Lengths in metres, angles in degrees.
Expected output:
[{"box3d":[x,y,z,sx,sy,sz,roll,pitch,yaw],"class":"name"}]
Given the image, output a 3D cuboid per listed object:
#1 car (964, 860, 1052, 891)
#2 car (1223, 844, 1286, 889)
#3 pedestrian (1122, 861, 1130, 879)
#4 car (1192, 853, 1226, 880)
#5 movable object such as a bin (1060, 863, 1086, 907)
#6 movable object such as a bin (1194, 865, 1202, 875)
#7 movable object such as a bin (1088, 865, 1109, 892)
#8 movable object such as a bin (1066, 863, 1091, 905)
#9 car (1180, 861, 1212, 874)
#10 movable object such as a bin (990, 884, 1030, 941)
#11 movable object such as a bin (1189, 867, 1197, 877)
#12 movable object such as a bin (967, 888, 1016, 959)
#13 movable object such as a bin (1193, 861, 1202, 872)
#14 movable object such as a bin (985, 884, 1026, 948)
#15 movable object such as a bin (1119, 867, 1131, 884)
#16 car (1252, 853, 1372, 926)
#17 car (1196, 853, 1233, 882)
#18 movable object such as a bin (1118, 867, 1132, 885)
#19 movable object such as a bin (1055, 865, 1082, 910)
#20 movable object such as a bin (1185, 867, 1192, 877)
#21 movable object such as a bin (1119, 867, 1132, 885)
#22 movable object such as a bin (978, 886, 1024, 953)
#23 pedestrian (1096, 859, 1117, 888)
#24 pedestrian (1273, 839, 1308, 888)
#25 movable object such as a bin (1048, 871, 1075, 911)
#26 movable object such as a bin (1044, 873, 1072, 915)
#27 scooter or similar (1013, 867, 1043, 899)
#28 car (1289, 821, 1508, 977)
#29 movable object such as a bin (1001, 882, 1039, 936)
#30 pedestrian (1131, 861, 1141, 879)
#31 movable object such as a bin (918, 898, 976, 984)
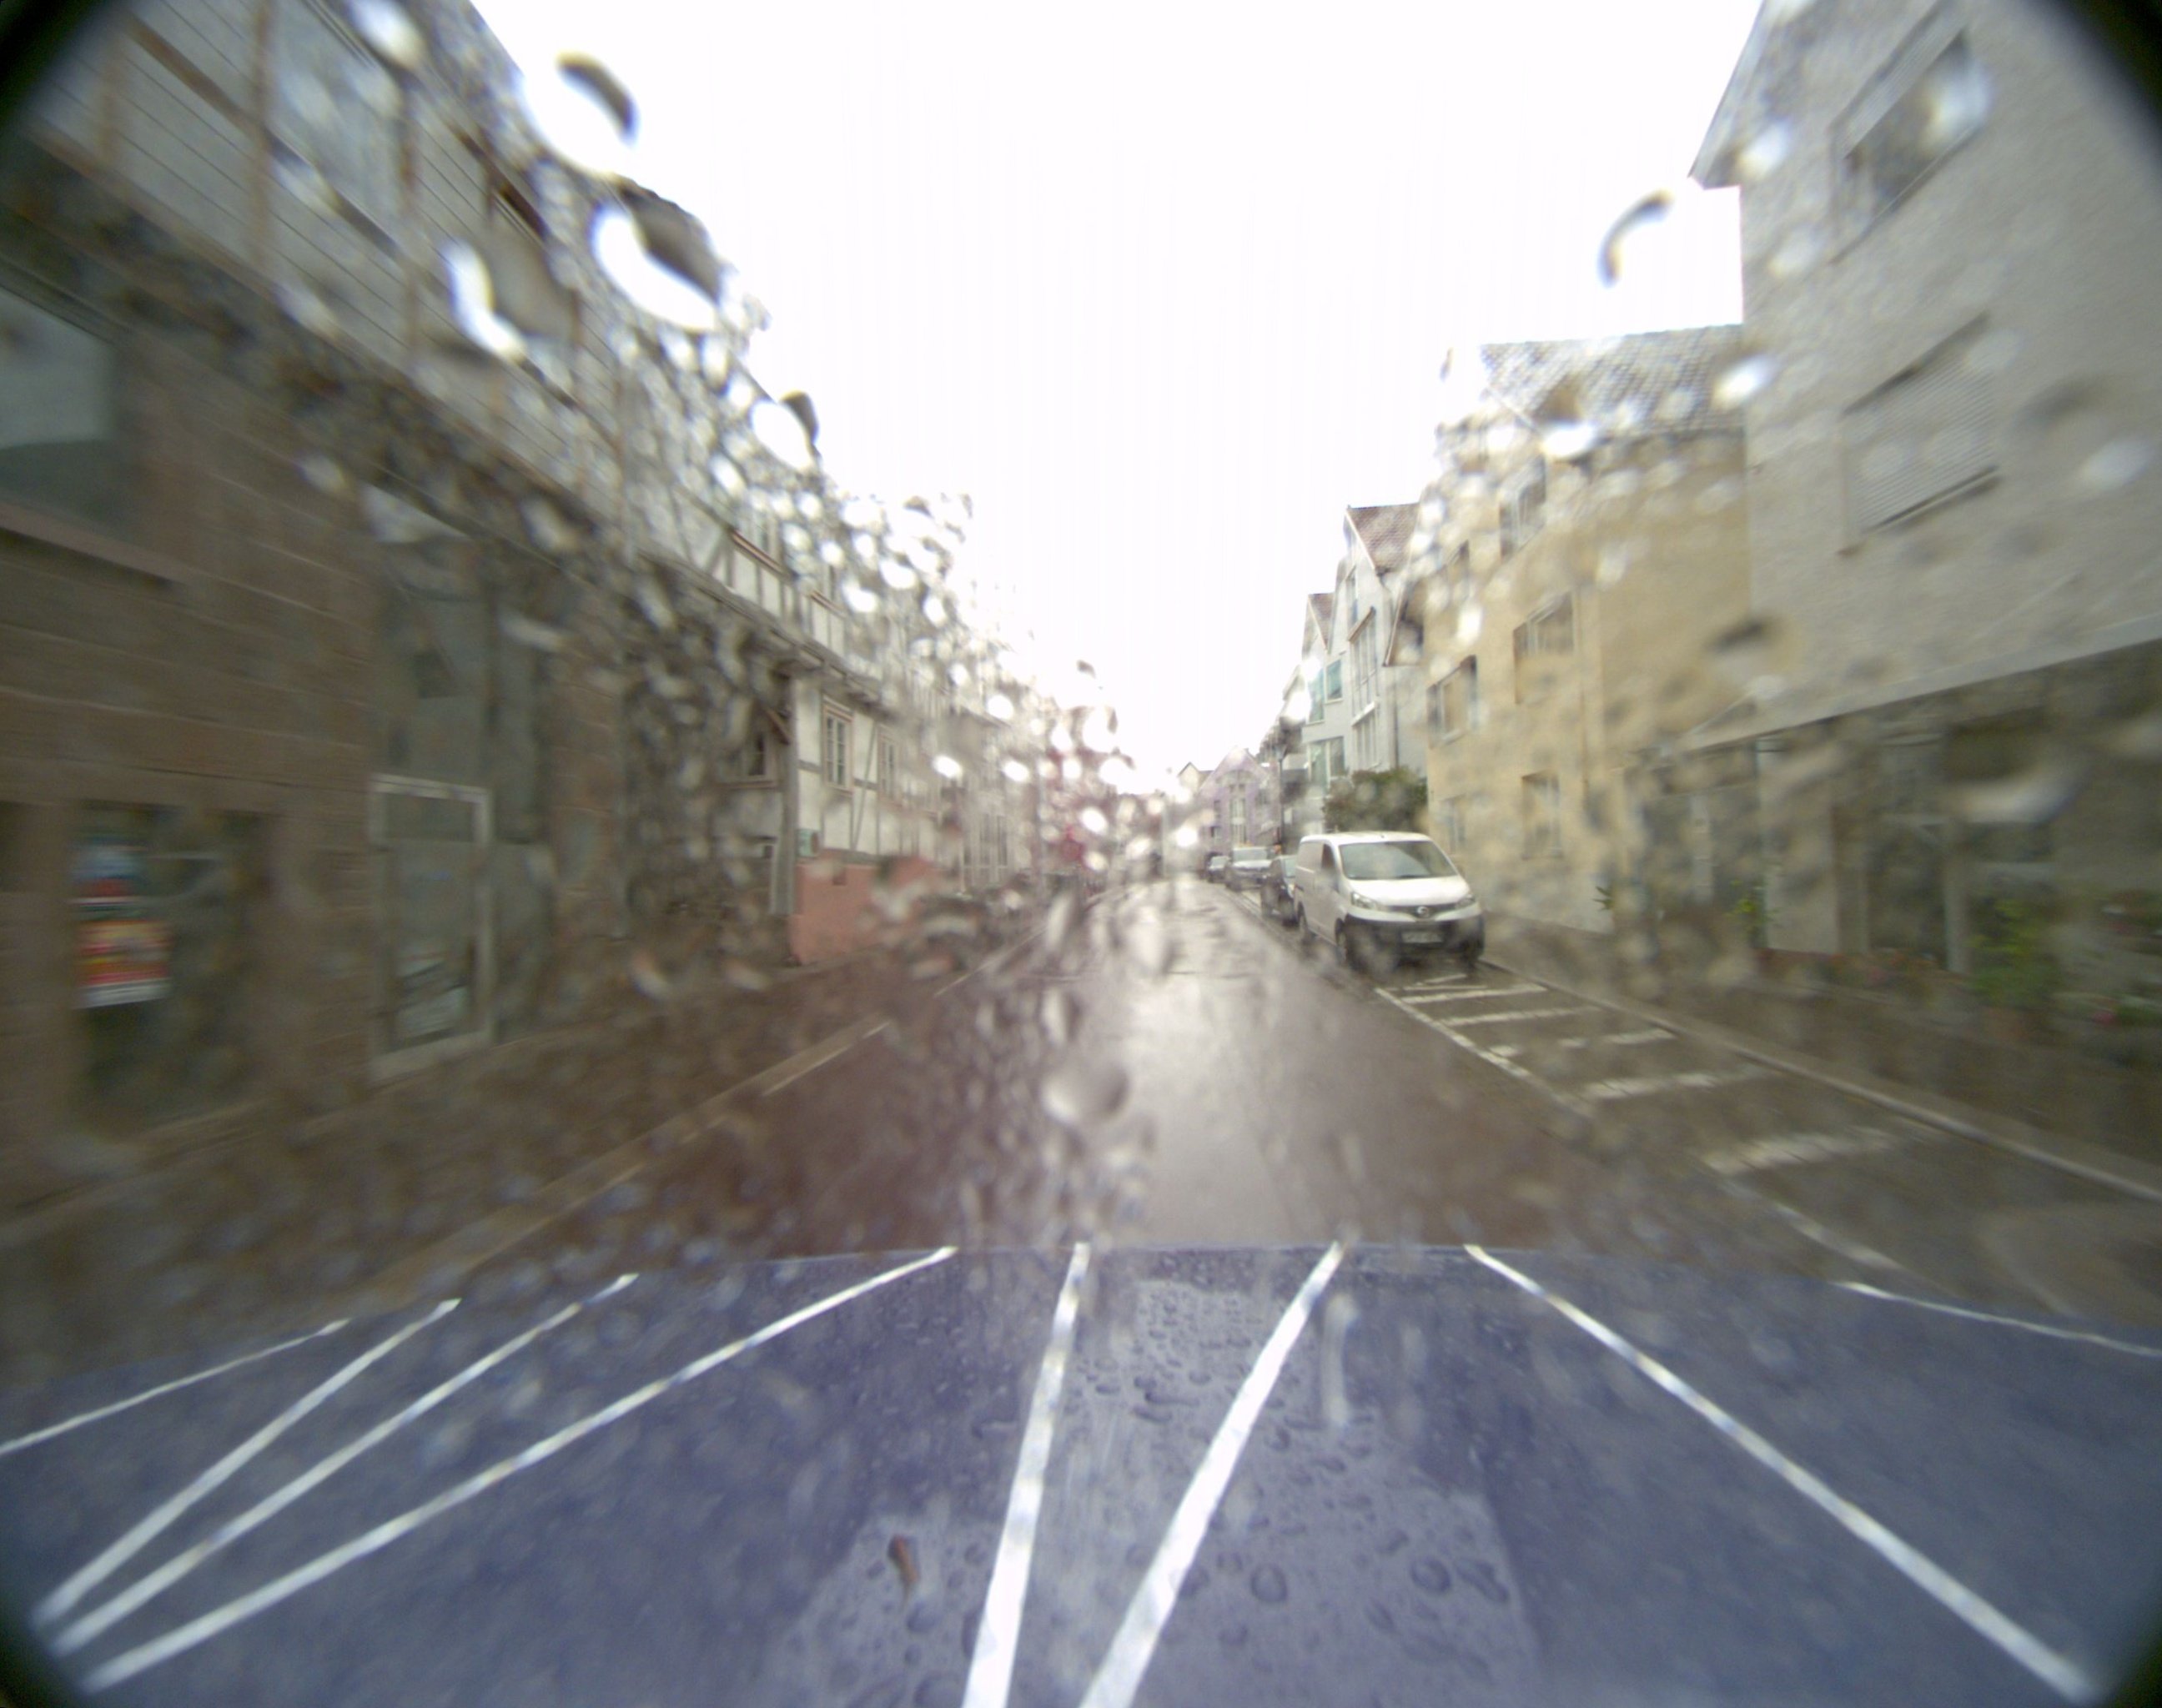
[{"box3d":[-3.656,1.090,38.219,3.992,1.505,1.914,-1,-1,17],"class":"car"},{"box3d":[6.686,0.436,29.721,1.783,1.559,4.409,-2,0,5],"class":"car"},{"box3d":[4.978,1.780,84.292,0.656,1.891,0.658,0,0,-19],"class":"pedestrian"},{"box3d":[8.034,0.758,47.855,1.795,1.541,4.002,-3,0,6],"class":"car"},{"box3d":[-0.252,0.947,23.420,0.639,1.283,0.632,-2,1,12],"class":"movable object such as a bin"},{"box3d":[12.206,1.665,79.046,0.688,1.067,0.669,-2,-1,-2],"class":"movable object such as a bin"},{"box3d":[0.784,1.079,33.411,0.805,1.124,0.863,-2,1,5],"class":"movable object such as a bin"},{"box3d":[-0.088,0.950,24.342,0.639,1.283,0.632,-2,1,12],"class":"movable object such as a bin"},{"box3d":[15.160,1.759,100.309,3.992,1.574,1.834,-2,1,14],"class":"car"},{"box3d":[-1.405,1.157,15.118,0.671,1.075,0.588,-1,1,5],"class":"movable object such as a bin"},{"box3d":[11.870,1.898,80.445,0.688,1.098,0.669,-2,-1,-2],"class":"movable object such as a bin"},{"box3d":[-1.528,1.187,13.060,0.639,1.140,0.580,-2,1,12],"class":"movable object such as a bin"},{"box3d":[11.838,1.307,77.255,0.688,1.070,0.669,-2,-1,-2],"class":"movable object such as a bin"},{"box3d":[-1.435,1.166,14.493,0.639,1.140,0.632,-2,1,4],"class":"movable object such as a bin"},{"box3d":[2.821,1.370,48.266,0.677,1.078,0.698,-2,0,8],"class":"movable object such as a bin"},{"box3d":[5.042,0.702,17.071,1.684,1.381,3.826,-2,0,3],"class":"car"},{"box3d":[7.298,0.742,41.872,1.834,1.489,4.767,-1,-1,8],"class":"car"},{"box3d":[2.705,1.344,46.861,0.730,1.075,0.647,-2,0,8],"class":"movable object such as a bin"},{"box3d":[-0.376,0.987,22.621,0.639,1.283,0.632,-2,1,12],"class":"movable object such as a bin"},{"box3d":[11.755,1.970,83.088,0.688,1.080,0.712,-2,-1,-2],"class":"movable object such as a bin"},{"box3d":[2.790,1.351,47.524,0.711,1.088,0.614,-2,0,8],"class":"movable object such as a bin"},{"box3d":[-1.435,1.175,13.691,0.639,1.140,0.604,-2,1,12],"class":"movable object such as a bin"},{"box3d":[1.504,1.138,45.299,1.180,1.687,1.178,-1,-1,4],"class":"pedestrian"},{"box3d":[8.065,0.377,29.289,1.037,1.795,1.117,-3,-1,7],"class":"pedestrian"},{"box3d":[-0.554,1.063,21.925,0.617,1.125,0.632,-2,1,12],"class":"movable object such as a bin"},{"box3d":[-0.642,1.117,21.251,0.617,1.125,0.632,-2,1,11],"class":"movable object such as a bin"},{"box3d":[-1.975,1.081,28.611,0.666,1.139,1.447,-2,1,14],"class":"scooter or similar"},{"box3d":[4.396,0.526,11.300,1.727,1.814,4.430,-2,0,6],"class":"car"},{"box3d":[-1.303,1.164,16.273,0.679,1.090,0.650,-3,0,3],"class":"movable object such as a bin"},{"box3d":[6.092,1.752,84.191,0.775,1.893,0.804,-2,1,-19],"class":"pedestrian"},{"box3d":[-1.876,1.217,10.715,0.610,1.121,0.600,-2,1,7],"class":"movable object such as a bin"}]
